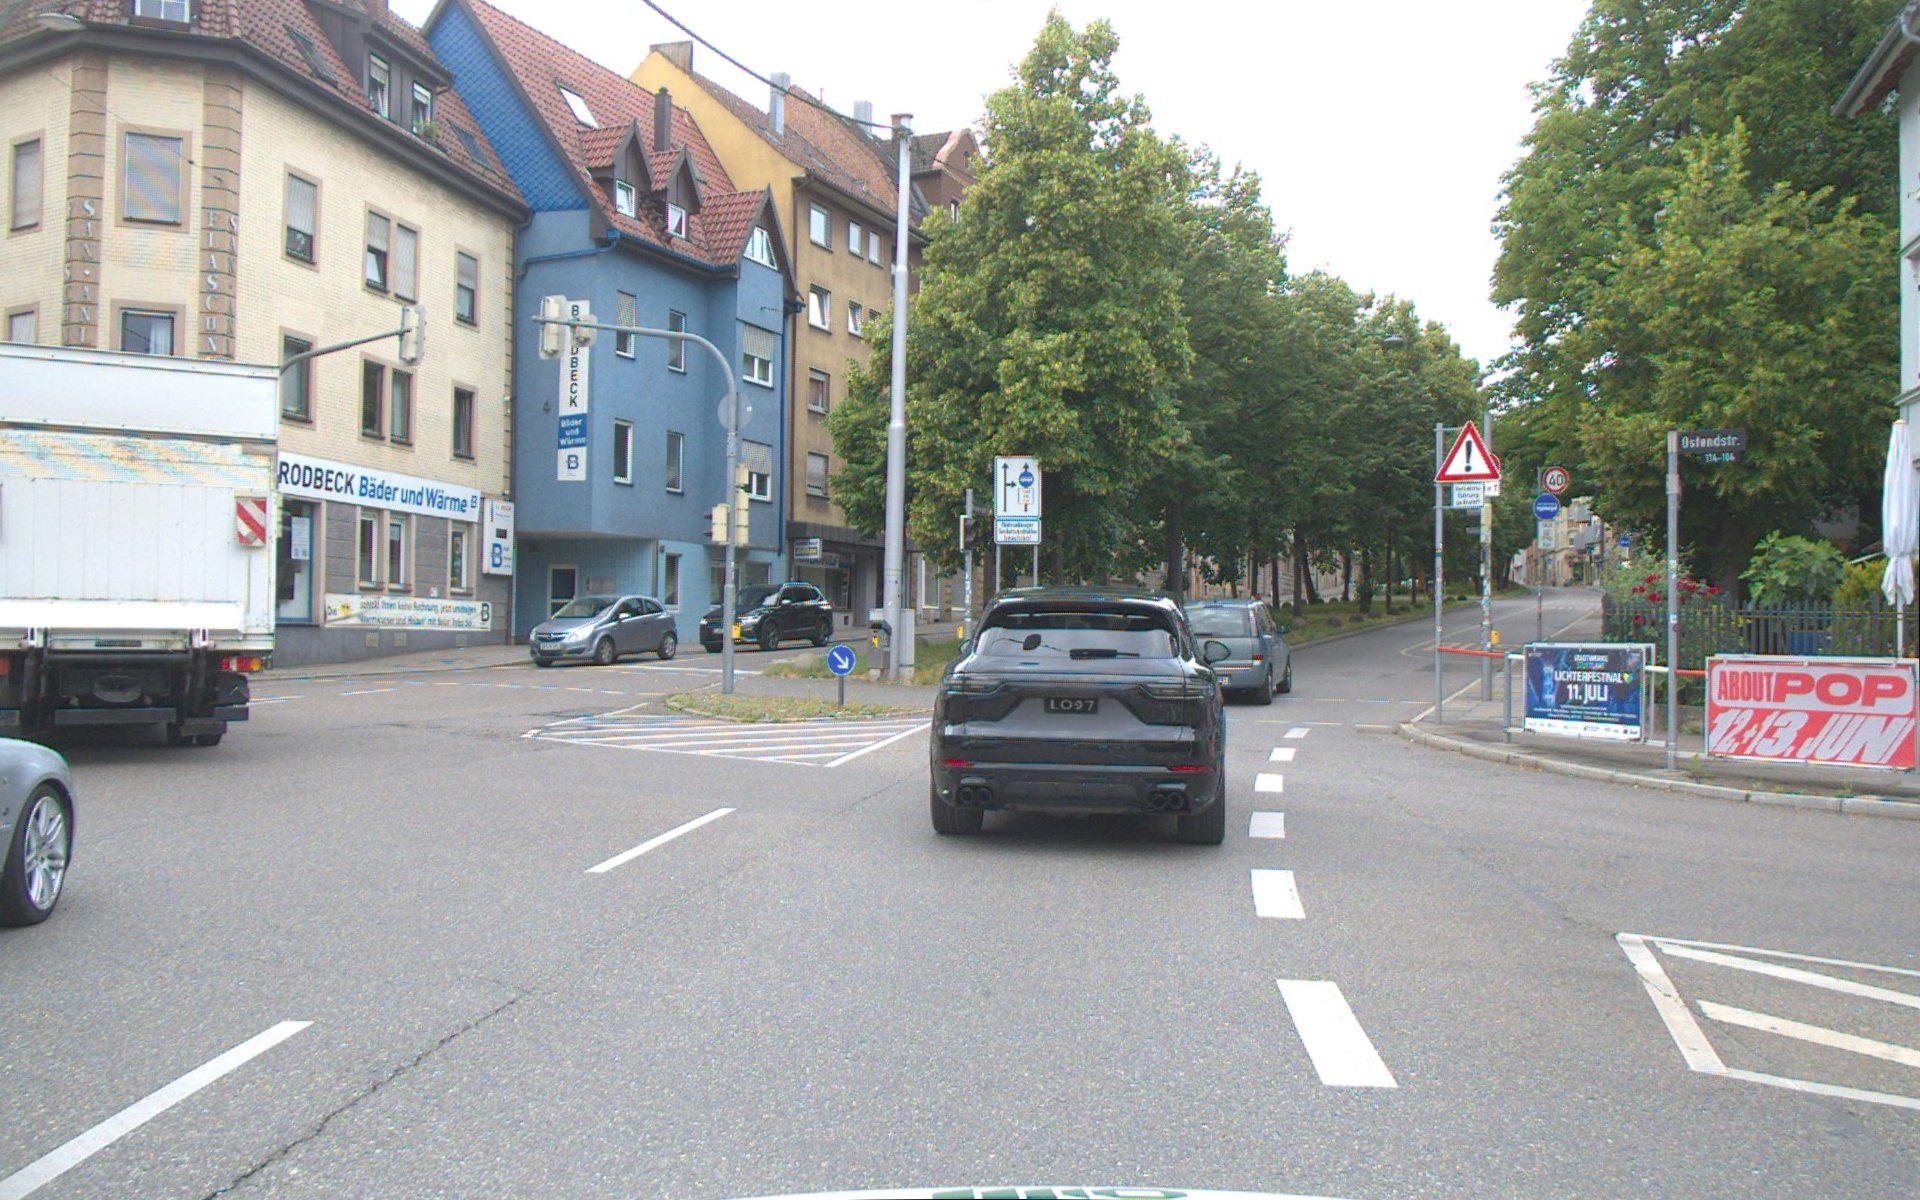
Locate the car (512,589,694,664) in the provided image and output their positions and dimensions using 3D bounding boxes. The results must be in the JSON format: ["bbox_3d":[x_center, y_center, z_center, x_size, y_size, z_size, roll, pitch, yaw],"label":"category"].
[{"bbox_3d":[-7.552,0.560,35.405,1.682,1.502,4.217,-1,-1,23],"label":"car"}]

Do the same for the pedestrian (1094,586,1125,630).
[{"bbox_3d":[7.038,0.363,77.713,1.168,2.049,0.989,1,0,21],"label":"pedestrian"}]

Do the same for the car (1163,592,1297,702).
[{"bbox_3d":[4.421,0.736,26.671,1.614,1.583,3.584,2,0,17],"label":"car"}]

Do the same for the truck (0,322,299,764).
[{"bbox_3d":[-9.158,-0.429,17.589,2.697,3.606,8.334,1,-1,-30],"label":"truck"}]

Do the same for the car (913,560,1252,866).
[{"bbox_3d":[1.026,0.683,12.227,1.988,1.753,4.503,2,0,8],"label":"car"}]

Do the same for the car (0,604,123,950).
[{"bbox_3d":[-4.628,0.728,5.803,1.597,1.389,4.123,2,0,-6],"label":"car"}]

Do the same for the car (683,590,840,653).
[{"bbox_3d":[-4.965,0.490,42.083,1.832,1.440,4.696,0,1,24],"label":"car"}]
